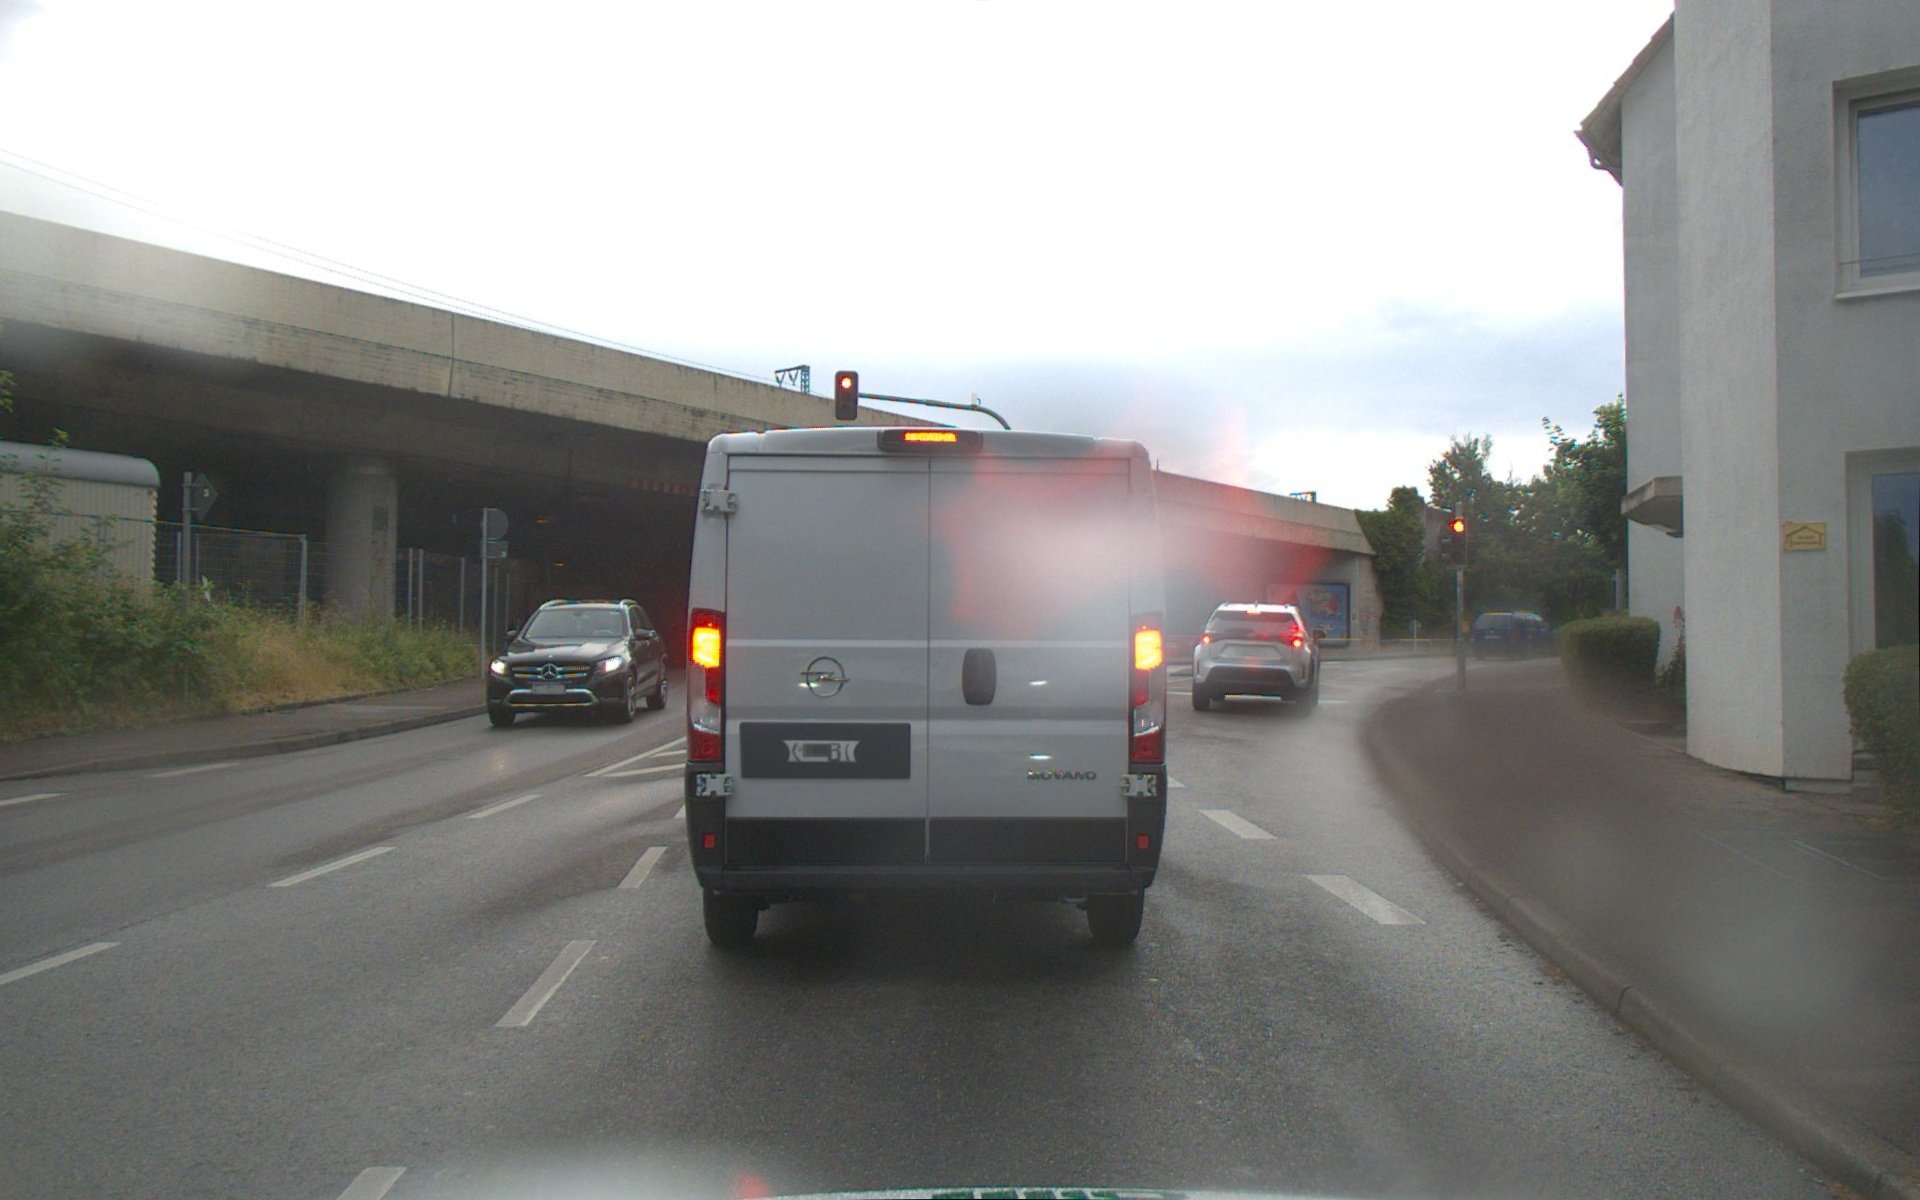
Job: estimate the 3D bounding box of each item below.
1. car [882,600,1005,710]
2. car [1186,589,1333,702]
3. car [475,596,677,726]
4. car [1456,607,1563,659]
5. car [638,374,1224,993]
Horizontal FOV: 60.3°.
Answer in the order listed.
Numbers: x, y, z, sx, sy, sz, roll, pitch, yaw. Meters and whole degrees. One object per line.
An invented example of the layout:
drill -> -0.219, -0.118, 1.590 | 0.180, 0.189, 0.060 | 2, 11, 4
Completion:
car -> -0.207, 0.942, 28.758 | 1.952, 1.759, 4.000 | 0, -2, 2
car -> 4.653, 0.695, 25.298 | 1.951, 1.576, 4.003 | 0, -2, 14
car -> -5.255, 0.791, 23.237 | 1.876, 1.655, 4.433 | 0, 0, -1
car -> 17.013, 1.040, 51.129 | 1.961, 1.545, 3.982 | -1, -2, 38
car -> -0.136, 0.345, 9.034 | 2.258, 2.384, 5.281 | 0, -1, -1
